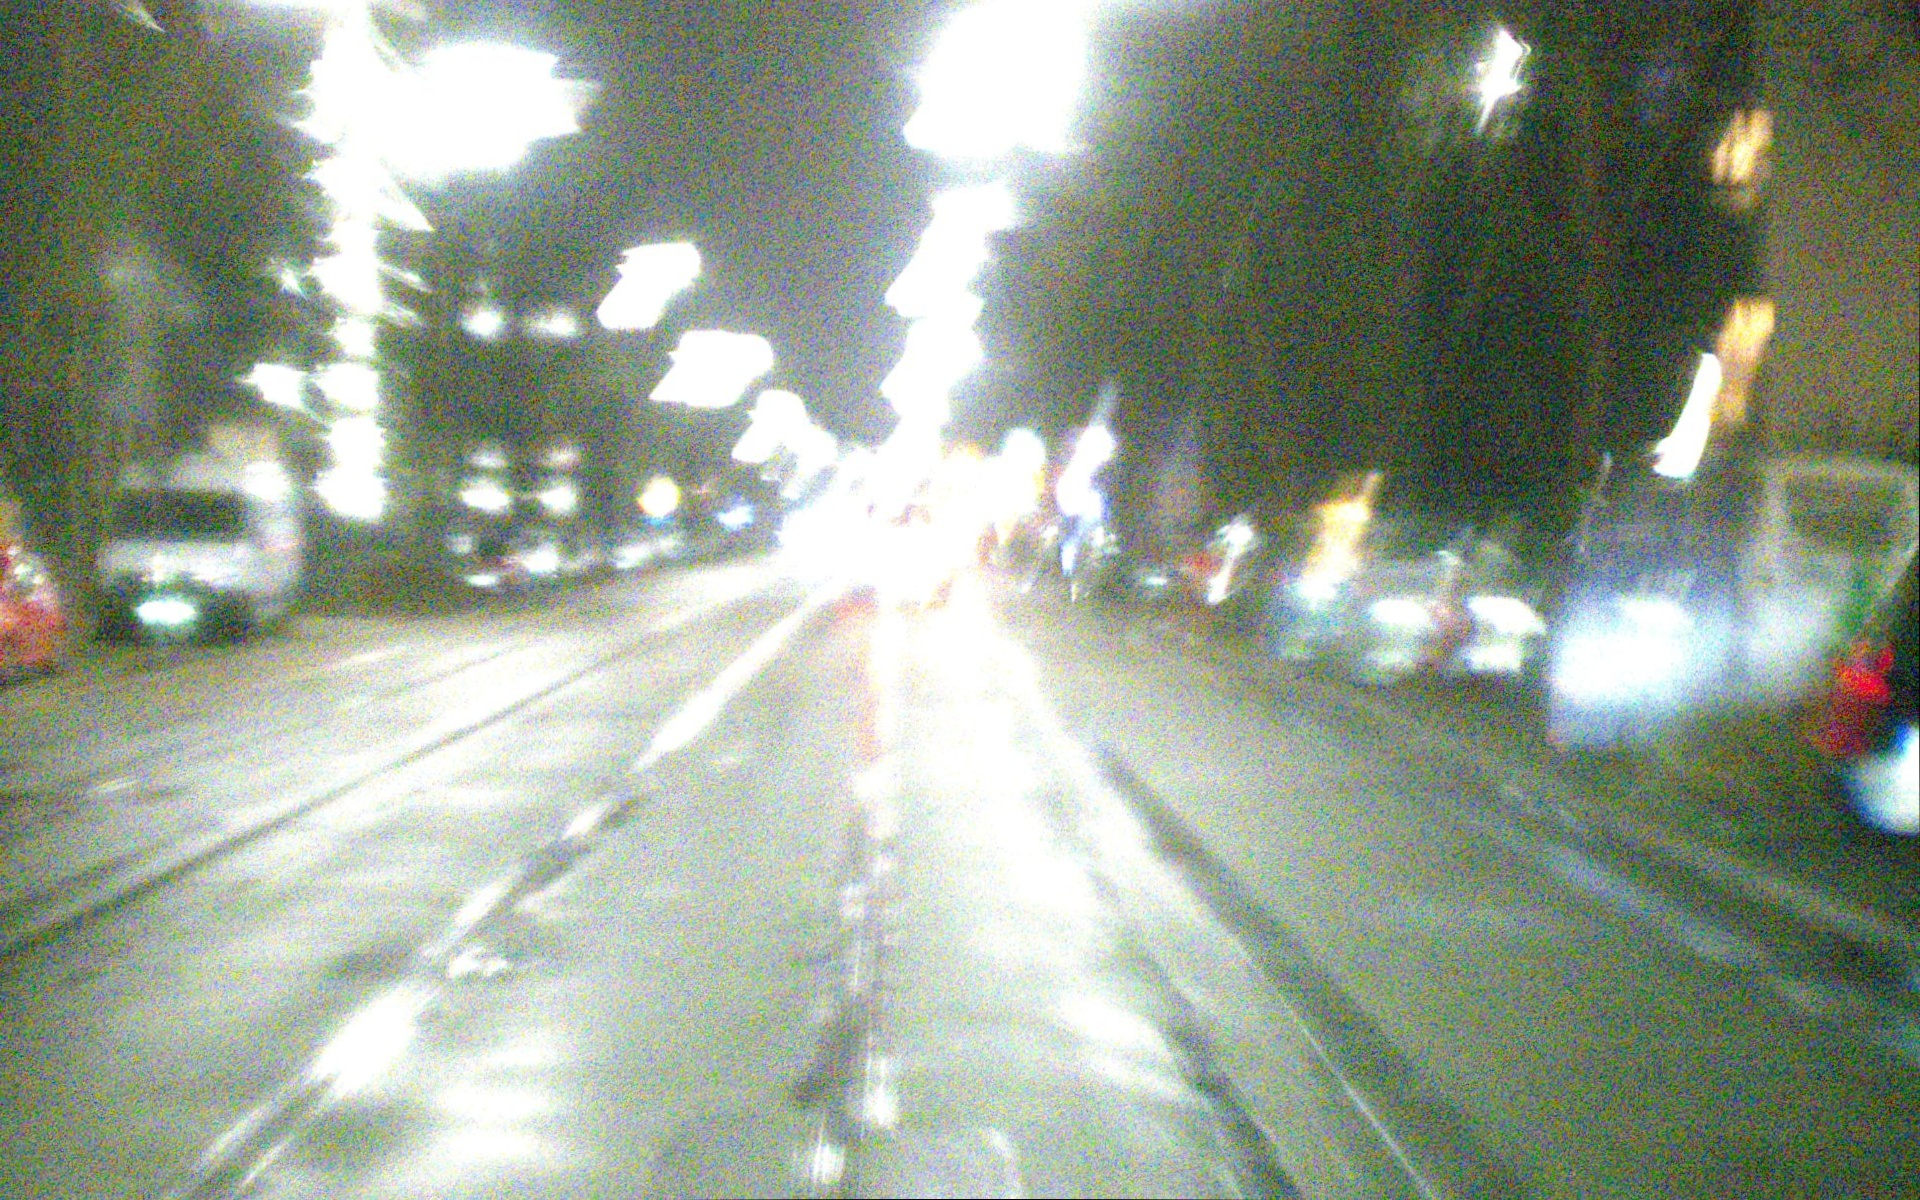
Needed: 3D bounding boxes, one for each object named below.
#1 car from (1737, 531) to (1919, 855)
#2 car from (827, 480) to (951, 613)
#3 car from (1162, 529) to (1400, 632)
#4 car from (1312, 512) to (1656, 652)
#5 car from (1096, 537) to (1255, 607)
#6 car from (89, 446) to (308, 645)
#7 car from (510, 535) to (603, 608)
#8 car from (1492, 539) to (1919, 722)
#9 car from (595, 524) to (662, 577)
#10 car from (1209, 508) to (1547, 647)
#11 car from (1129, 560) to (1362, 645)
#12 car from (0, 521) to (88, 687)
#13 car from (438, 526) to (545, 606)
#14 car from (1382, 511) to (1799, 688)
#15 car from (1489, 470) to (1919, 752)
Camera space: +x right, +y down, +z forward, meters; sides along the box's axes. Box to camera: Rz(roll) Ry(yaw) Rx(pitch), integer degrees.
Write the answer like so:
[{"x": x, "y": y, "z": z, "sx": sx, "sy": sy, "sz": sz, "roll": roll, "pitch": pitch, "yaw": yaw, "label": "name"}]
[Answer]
[{"x": 5.559, "y": 0.437, "z": 16.866, "sx": 1.599, "sy": 1.433, "sz": 3.825, "roll": 3, "pitch": 1, "yaw": 44, "label": "car"}, {"x": -1.422, "y": -1.050, "z": 66.726, "sx": 2.216, "sy": 2.433, "sz": 5.385, "roll": 1, "pitch": 1, "yaw": -3, "label": "car"}, {"x": 5.360, "y": -0.313, "z": 57.108, "sx": 2.054, "sy": 1.618, "sz": 3.819, "roll": 2, "pitch": 1, "yaw": 41, "label": "car"}, {"x": 5.799, "y": -0.185, "z": 37.804, "sx": 1.820, "sy": 1.428, "sz": 3.846, "roll": 3, "pitch": 1, "yaw": 44, "label": "car"}, {"x": 5.211, "y": -0.665, "z": 82.810, "sx": 1.909, "sy": 1.567, "sz": 3.953, "roll": 2, "pitch": 1, "yaw": 38, "label": "car"}, {"x": -10.368, "y": -0.782, "z": 47.214, "sx": 2.024, "sy": 2.490, "sz": 5.609, "roll": 2, "pitch": 1, "yaw": -4, "label": "car"}, {"x": -10.506, "y": -0.743, "z": 89.727, "sx": 1.999, "sy": 1.779, "sz": 4.000, "roll": 2, "pitch": 0, "yaw": -1, "label": "car"}, {"x": 6.117, "y": 0.228, "z": 27.945, "sx": 3.327, "sy": 1.380, "sz": 1.631, "roll": 0, "pitch": 1, "yaw": -36, "label": "car"}, {"x": -11.621, "y": -1.721, "z": 120.826, "sx": 2.022, "sy": 1.755, "sz": 4.000, "roll": 2, "pitch": 0, "yaw": -2, "label": "car"}, {"x": 4.937, "y": -0.262, "z": 40.376, "sx": 3.878, "sy": 1.528, "sz": 1.821, "roll": 0, "pitch": 2, "yaw": -42, "label": "car"}, {"x": 5.258, "y": 0.054, "z": 63.049, "sx": 1.950, "sy": 1.449, "sz": 4.237, "roll": 3, "pitch": 1, "yaw": 45, "label": "car"}, {"x": -10.140, "y": -0.011, "z": 35.326, "sx": 1.640, "sy": 1.502, "sz": 3.620, "roll": 1, "pitch": 3, "yaw": -4, "label": "car"}, {"x": -11.045, "y": -0.804, "z": 81.363, "sx": 2.108, "sy": 1.758, "sz": 4.966, "roll": 2, "pitch": 0, "yaw": -4, "label": "car"}, {"x": 5.749, "y": -0.059, "z": 30.986, "sx": 1.691, "sy": 1.399, "sz": 4.447, "roll": 2, "pitch": 3, "yaw": 40, "label": "car"}, {"x": 5.945, "y": 0.069, "z": 24.824, "sx": 4.162, "sy": 1.833, "sz": 1.962, "roll": 1, "pitch": 2, "yaw": -42, "label": "car"}]
